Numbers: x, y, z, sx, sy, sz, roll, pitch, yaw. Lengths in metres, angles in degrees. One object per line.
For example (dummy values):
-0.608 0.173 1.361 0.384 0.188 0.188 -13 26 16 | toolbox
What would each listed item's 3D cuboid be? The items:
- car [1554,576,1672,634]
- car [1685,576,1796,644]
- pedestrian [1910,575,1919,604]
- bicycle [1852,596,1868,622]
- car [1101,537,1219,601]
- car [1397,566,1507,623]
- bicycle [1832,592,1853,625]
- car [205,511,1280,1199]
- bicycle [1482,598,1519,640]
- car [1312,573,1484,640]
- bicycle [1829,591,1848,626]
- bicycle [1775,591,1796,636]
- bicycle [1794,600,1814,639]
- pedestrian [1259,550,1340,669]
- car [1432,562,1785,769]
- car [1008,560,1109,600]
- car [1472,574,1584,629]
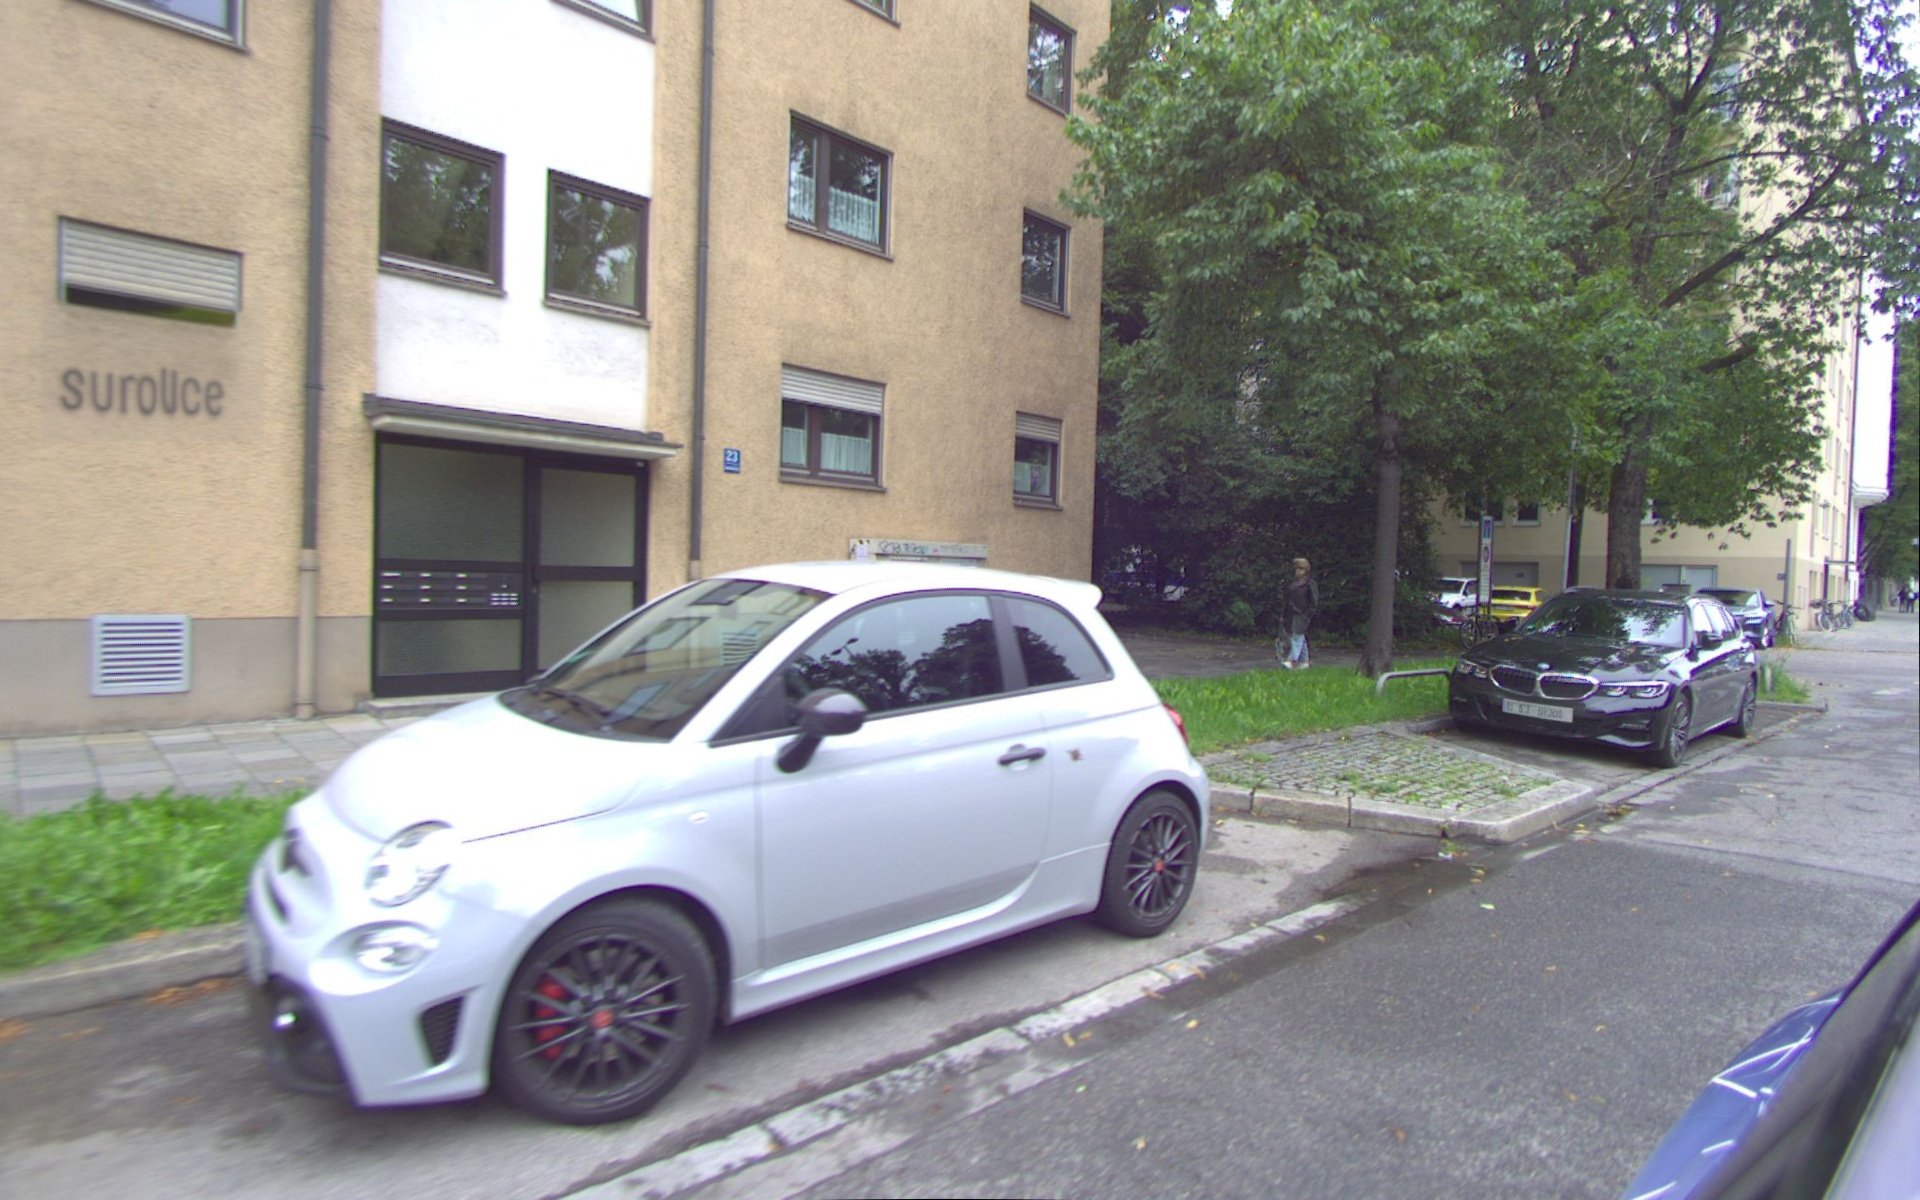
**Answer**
18.763 0.092 29.013 2.049 1.485 4.178 3 3 44 | car
20.569 0.208 26.618 1.821 1.584 4.178 3 3 44 | car
67.946 -0.726 71.909 0.454 2.038 0.612 3 2 29 | pedestrian
37.146 0.360 41.781 0.461 1.017 1.299 3 2 42 | bicycle
7.853 -1.214 39.760 4.092 2.342 1.908 1 2 -20 | car
15.698 -0.192 32.192 1.913 1.640 4.178 3 3 44 | car
32.031 0.299 36.745 0.398 1.185 1.302 2 2 36 | bicycle
-0.526 0.516 3.938 3.754 1.514 1.631 0 4 -42 | car
11.960 0.412 22.378 1.059 0.891 0.250 0 2 -35 | bicycle
11.323 0.125 26.331 1.703 1.515 3.704 0 3 -41 | car
30.675 0.275 35.348 0.361 1.185 1.302 2 2 36 | bicycle
23.320 0.372 28.585 0.281 1.246 1.219 3 2 45 | bicycle
23.553 0.535 28.237 0.281 1.074 1.219 3 2 45 | bicycle
4.882 0.115 14.554 0.963 1.643 0.672 -1 3 -41 | pedestrian
6.550 0.479 10.013 4.301 1.514 1.795 0 5 -42 | car
4.266 -0.878 44.231 4.026 1.623 1.907 1 2 -7 | car
17.068 0.015 30.322 1.913 1.485 4.178 3 3 44 | car
